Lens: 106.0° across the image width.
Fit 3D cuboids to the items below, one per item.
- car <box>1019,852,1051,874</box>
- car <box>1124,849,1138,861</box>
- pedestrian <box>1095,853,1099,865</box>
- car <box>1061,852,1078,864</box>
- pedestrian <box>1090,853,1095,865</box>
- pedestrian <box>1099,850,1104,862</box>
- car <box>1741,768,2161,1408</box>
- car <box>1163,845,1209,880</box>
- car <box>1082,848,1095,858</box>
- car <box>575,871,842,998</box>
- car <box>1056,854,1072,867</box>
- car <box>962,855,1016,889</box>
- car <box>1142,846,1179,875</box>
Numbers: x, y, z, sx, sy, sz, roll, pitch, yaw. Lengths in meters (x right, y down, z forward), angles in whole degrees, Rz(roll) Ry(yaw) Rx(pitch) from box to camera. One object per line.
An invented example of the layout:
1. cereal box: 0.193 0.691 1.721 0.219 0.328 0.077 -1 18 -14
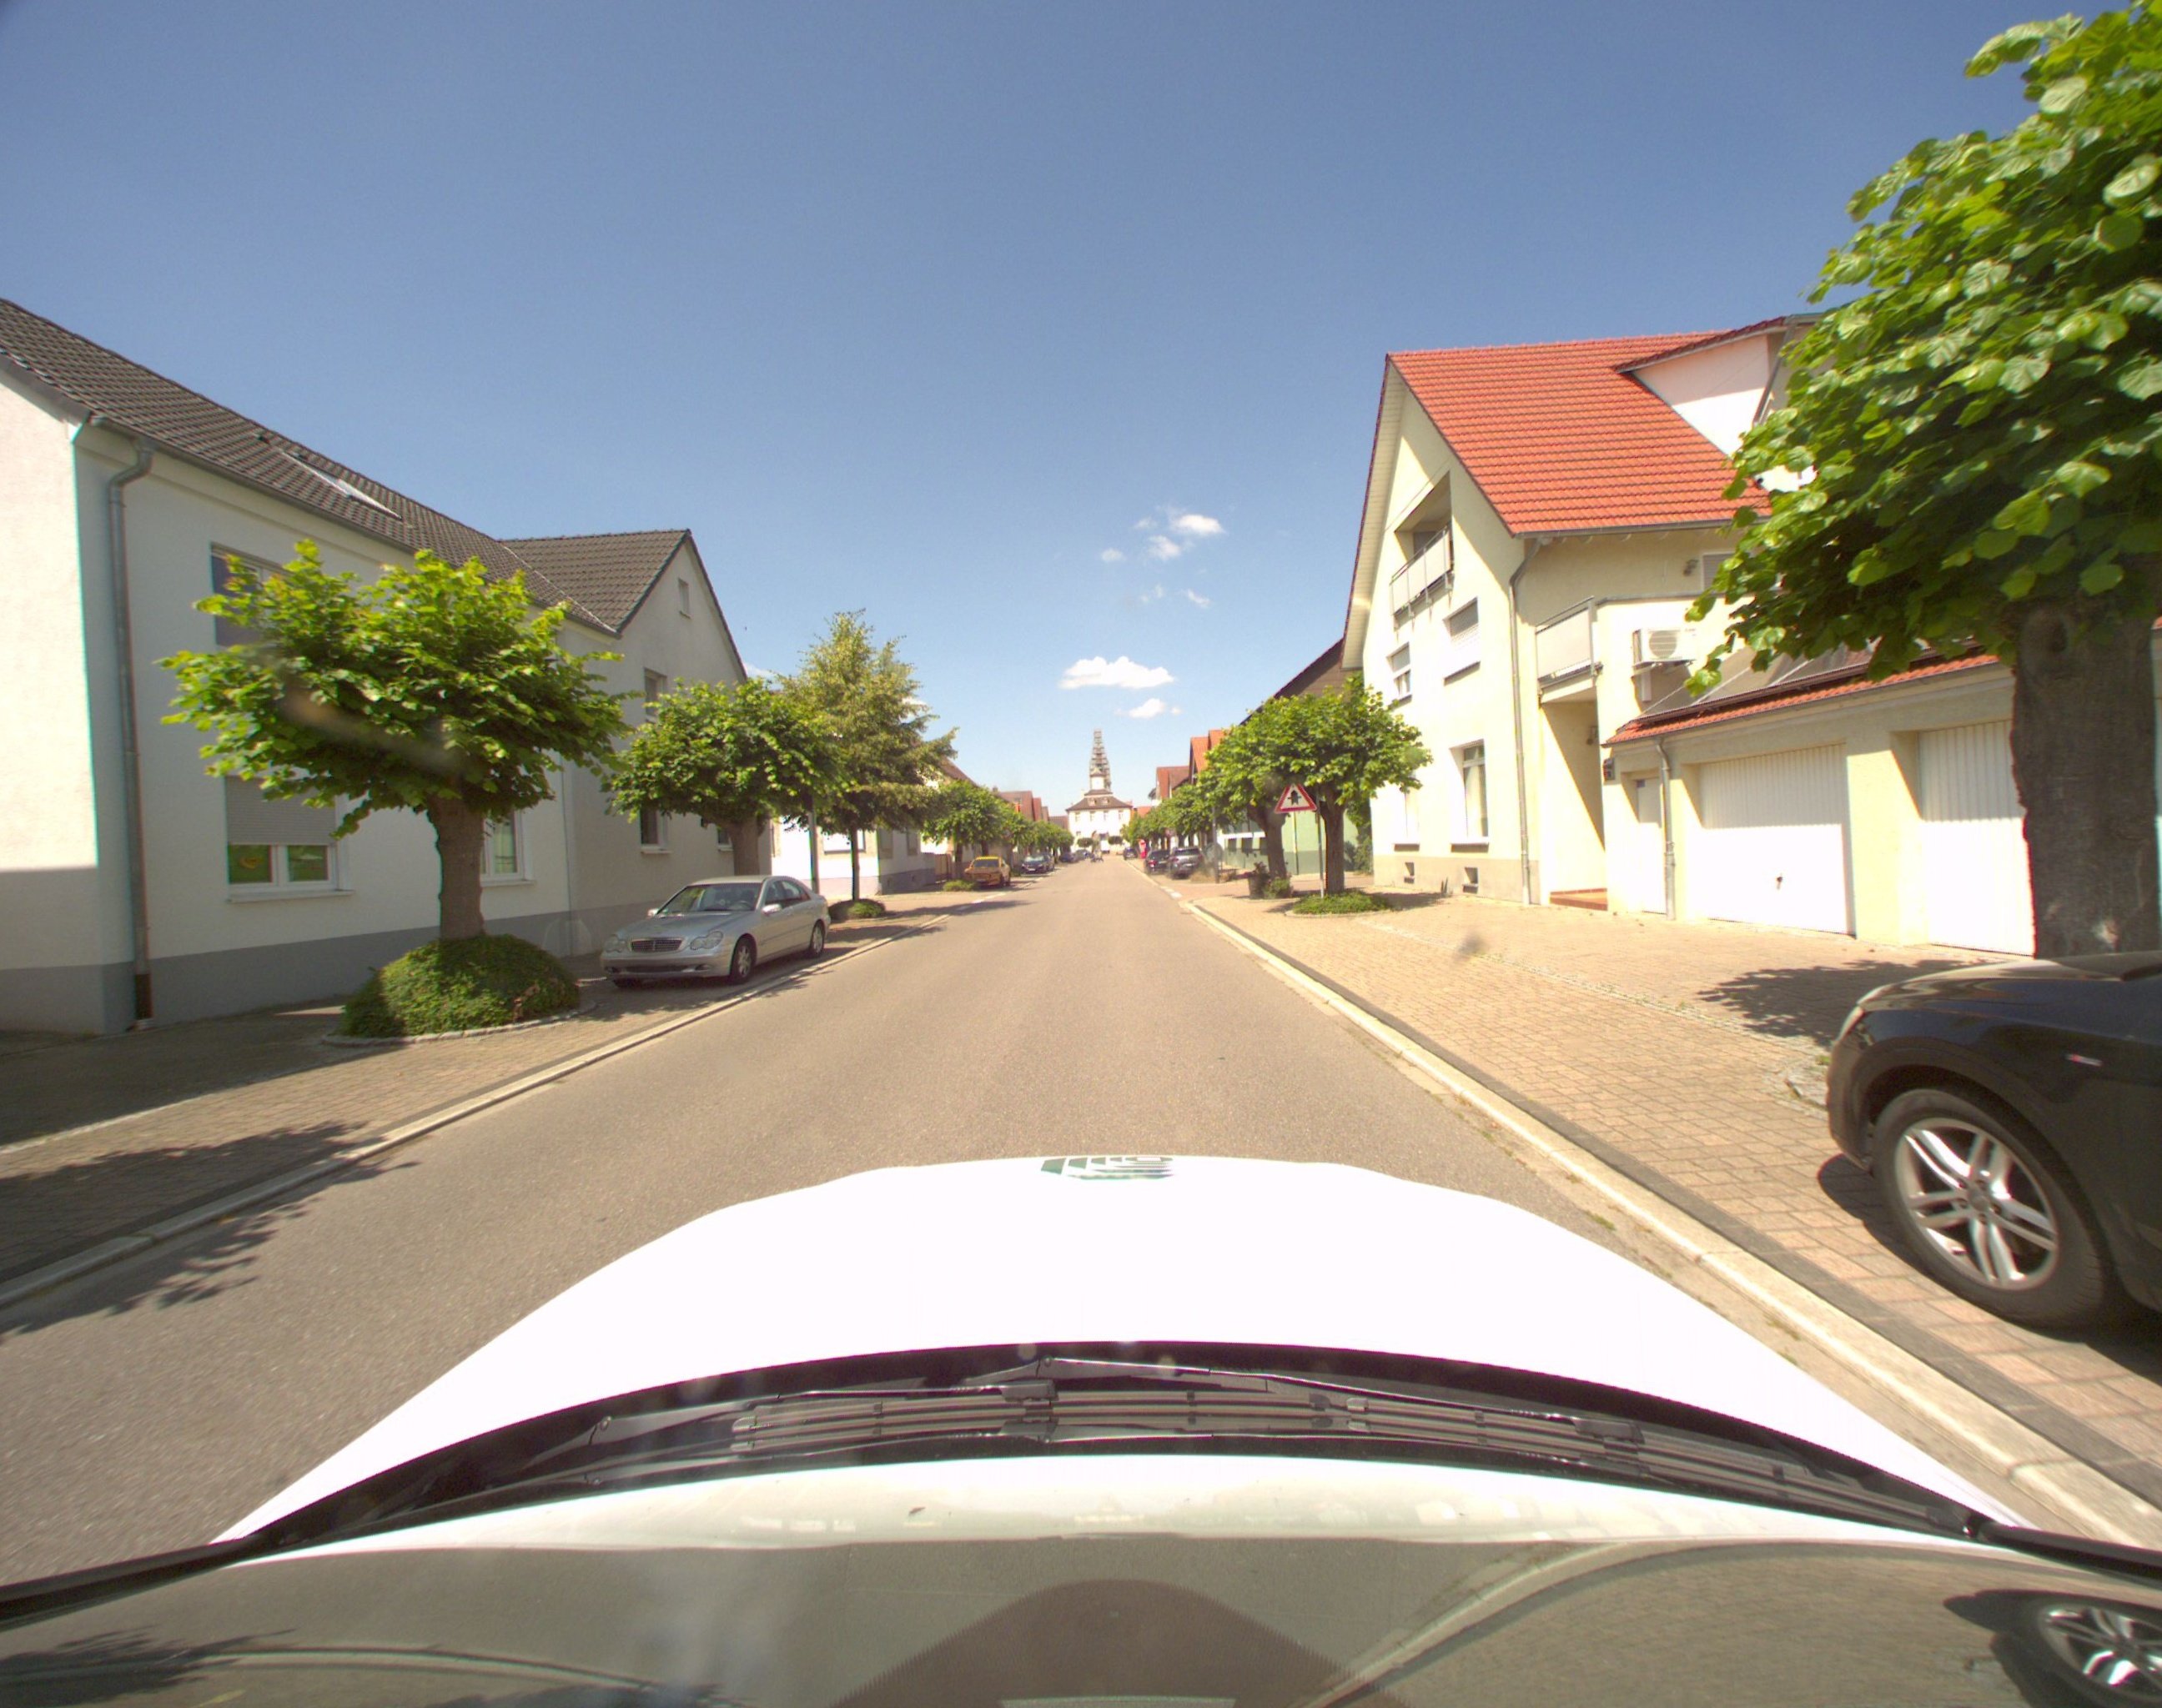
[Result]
1. car: -3.534 0.663 63.202 1.985 1.611 4.692 -1 1 3
2. car: 6.857 0.132 111.784 1.830 1.555 4.316 -4 0 2
3. pedestrian: 1.933 0.580 98.293 0.354 1.403 0.322 -3 0 39
4. car: -1.541 0.550 112.129 1.985 1.611 3.857 -1 -1 3
5. pedestrian: 1.399 0.587 97.984 0.354 1.403 0.322 -3 0 39
6. pedestrian: 2.440 0.246 97.382 0.354 1.403 0.322 -3 0 39
7. car: 3.462 0.528 1.235 1.815 1.586 4.063 -4 0 6
8. car: 5.276 0.420 41.352 1.831 1.607 4.000 -3 0 0
9. car: 1.319 -0.138 146.338 1.989 1.611 4.501 -1 -1 -2
10. car: -5.216 1.028 12.181 1.834 1.396 4.407 -2 0 1
11. car: -2.222 0.824 106.396 1.751 1.555 4.022 -3 0 2
12. car: -4.654 0.892 41.976 1.985 1.611 4.692 -1 0 3
13. car: 4.745 0.357 48.965 1.831 1.555 4.315 -4 0 1
